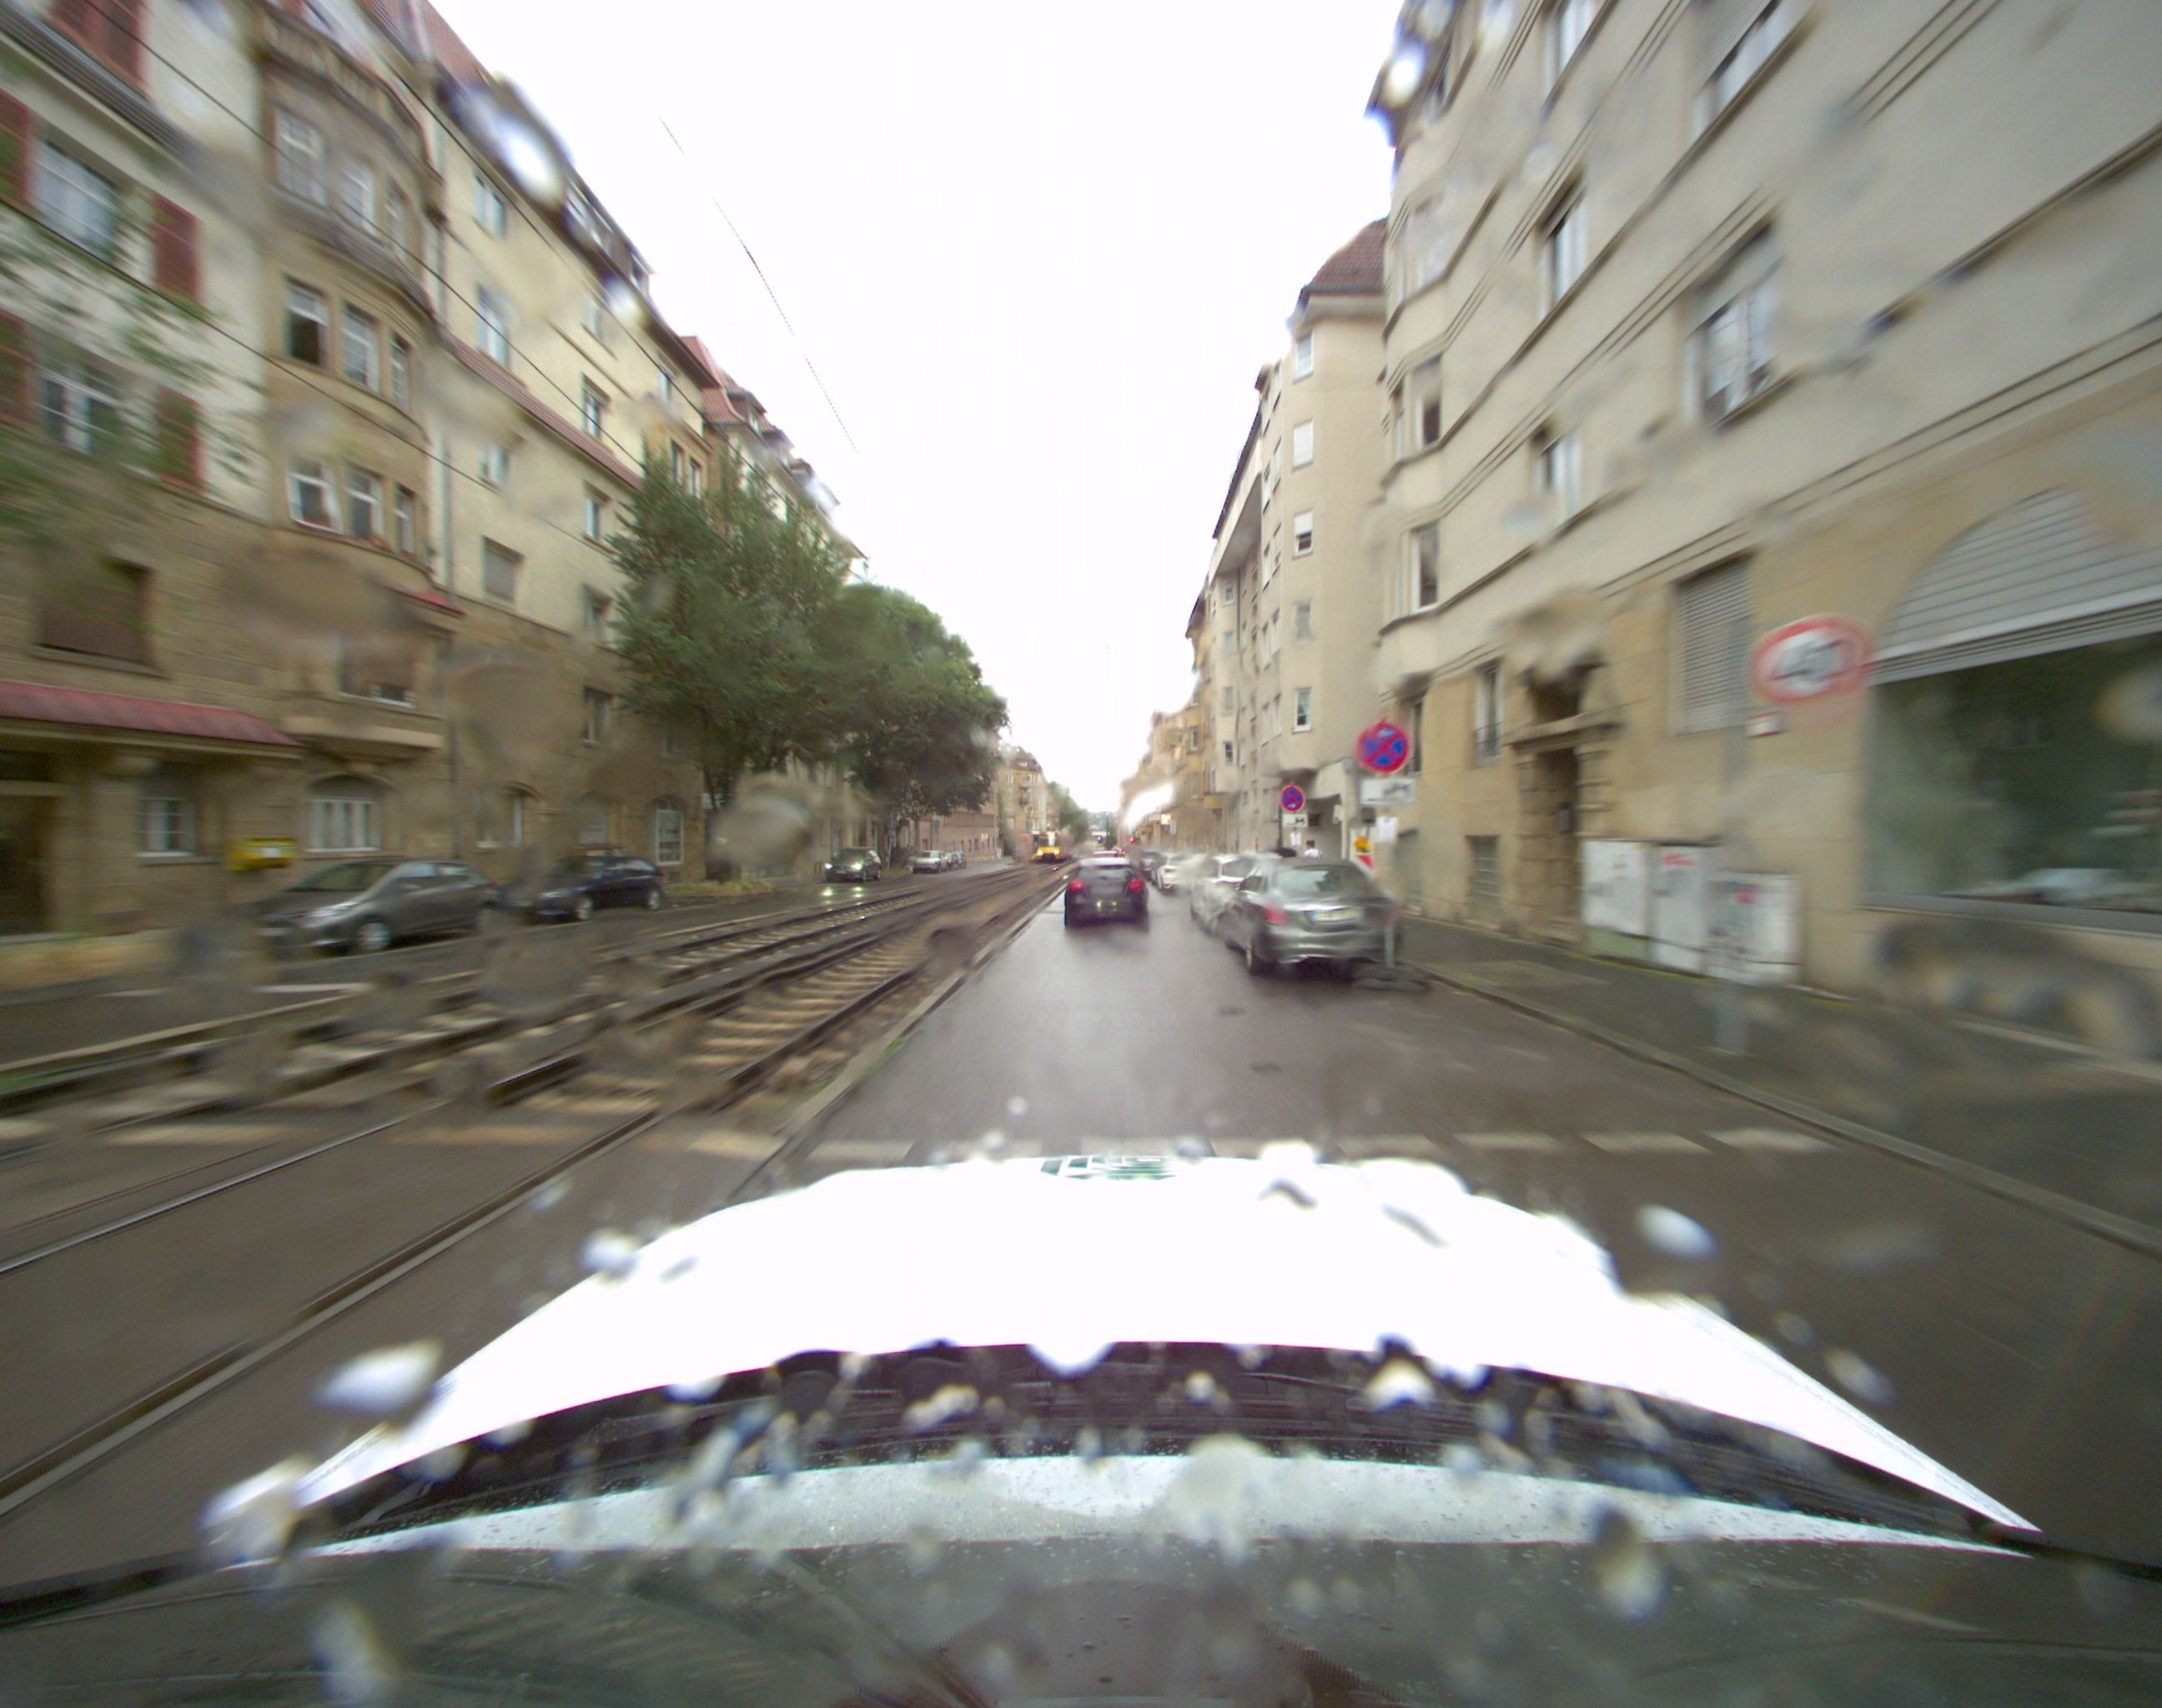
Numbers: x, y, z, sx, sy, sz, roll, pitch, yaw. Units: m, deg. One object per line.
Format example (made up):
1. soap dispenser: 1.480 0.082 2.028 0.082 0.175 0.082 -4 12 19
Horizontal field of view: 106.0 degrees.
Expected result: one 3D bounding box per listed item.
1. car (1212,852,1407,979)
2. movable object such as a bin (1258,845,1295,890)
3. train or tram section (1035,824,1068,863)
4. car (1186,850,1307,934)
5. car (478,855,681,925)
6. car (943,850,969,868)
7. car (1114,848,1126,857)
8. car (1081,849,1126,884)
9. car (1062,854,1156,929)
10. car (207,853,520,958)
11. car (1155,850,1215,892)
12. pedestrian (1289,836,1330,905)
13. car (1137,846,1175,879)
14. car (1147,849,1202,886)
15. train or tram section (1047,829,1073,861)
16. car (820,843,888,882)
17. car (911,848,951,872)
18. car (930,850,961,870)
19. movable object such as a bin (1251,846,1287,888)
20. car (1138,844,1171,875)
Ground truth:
1. car: 2.957 0.710 11.586 1.703 1.410 4.822 -1 0 4
2. movable object such as a bin: 6.646 0.458 27.712 0.976 1.468 1.273 -1 -1 1
3. train or tram section: -3.203 -1.156 94.343 2.735 4.061 17.219 -1 0 1
4. car: 3.262 0.698 16.948 1.705 1.468 4.776 -1 0 2
5. car: -11.824 0.772 19.705 1.775 1.460 4.978 -1 0 1
6. car: -10.234 0.382 66.747 1.566 1.466 3.045 0 1 1
7. car: 6.818 -0.278 141.476 1.879 1.525 4.250 0 0 4
8. car: 1.068 0.542 37.992 1.986 1.525 4.248 0 0 2
9. car: 0.635 0.748 17.990 1.827 1.453 3.904 -1 0 2
10. car: -12.068 0.776 14.151 1.684 1.529 4.176 -1 0 1
11. car: 3.746 0.594 30.008 1.782 1.385 4.397 -1 0 2
12. pedestrian: 5.709 0.407 20.392 0.801 1.687 0.754 -1 -1 1
13. car: 3.871 0.442 42.608 1.833 1.608 4.766 -1 0 4
14. car: 3.915 0.549 34.677 1.826 1.468 4.374 -1 0 0
15. train or tram section: -2.718 -1.205 110.706 2.735 4.061 15.666 -1 0 1
16. car: -11.238 0.354 40.660 1.946 1.742 4.779 2 1 1
17. car: -10.636 0.422 57.928 1.954 1.605 4.330 0 1 1
18. car: -10.417 0.450 62.985 1.660 1.415 3.689 0 1 2
19. movable object such as a bin: 6.725 0.467 29.208 1.014 1.468 1.323 -1 -1 1
20. car: 4.355 0.315 48.660 1.771 1.750 4.552 -1 0 3
